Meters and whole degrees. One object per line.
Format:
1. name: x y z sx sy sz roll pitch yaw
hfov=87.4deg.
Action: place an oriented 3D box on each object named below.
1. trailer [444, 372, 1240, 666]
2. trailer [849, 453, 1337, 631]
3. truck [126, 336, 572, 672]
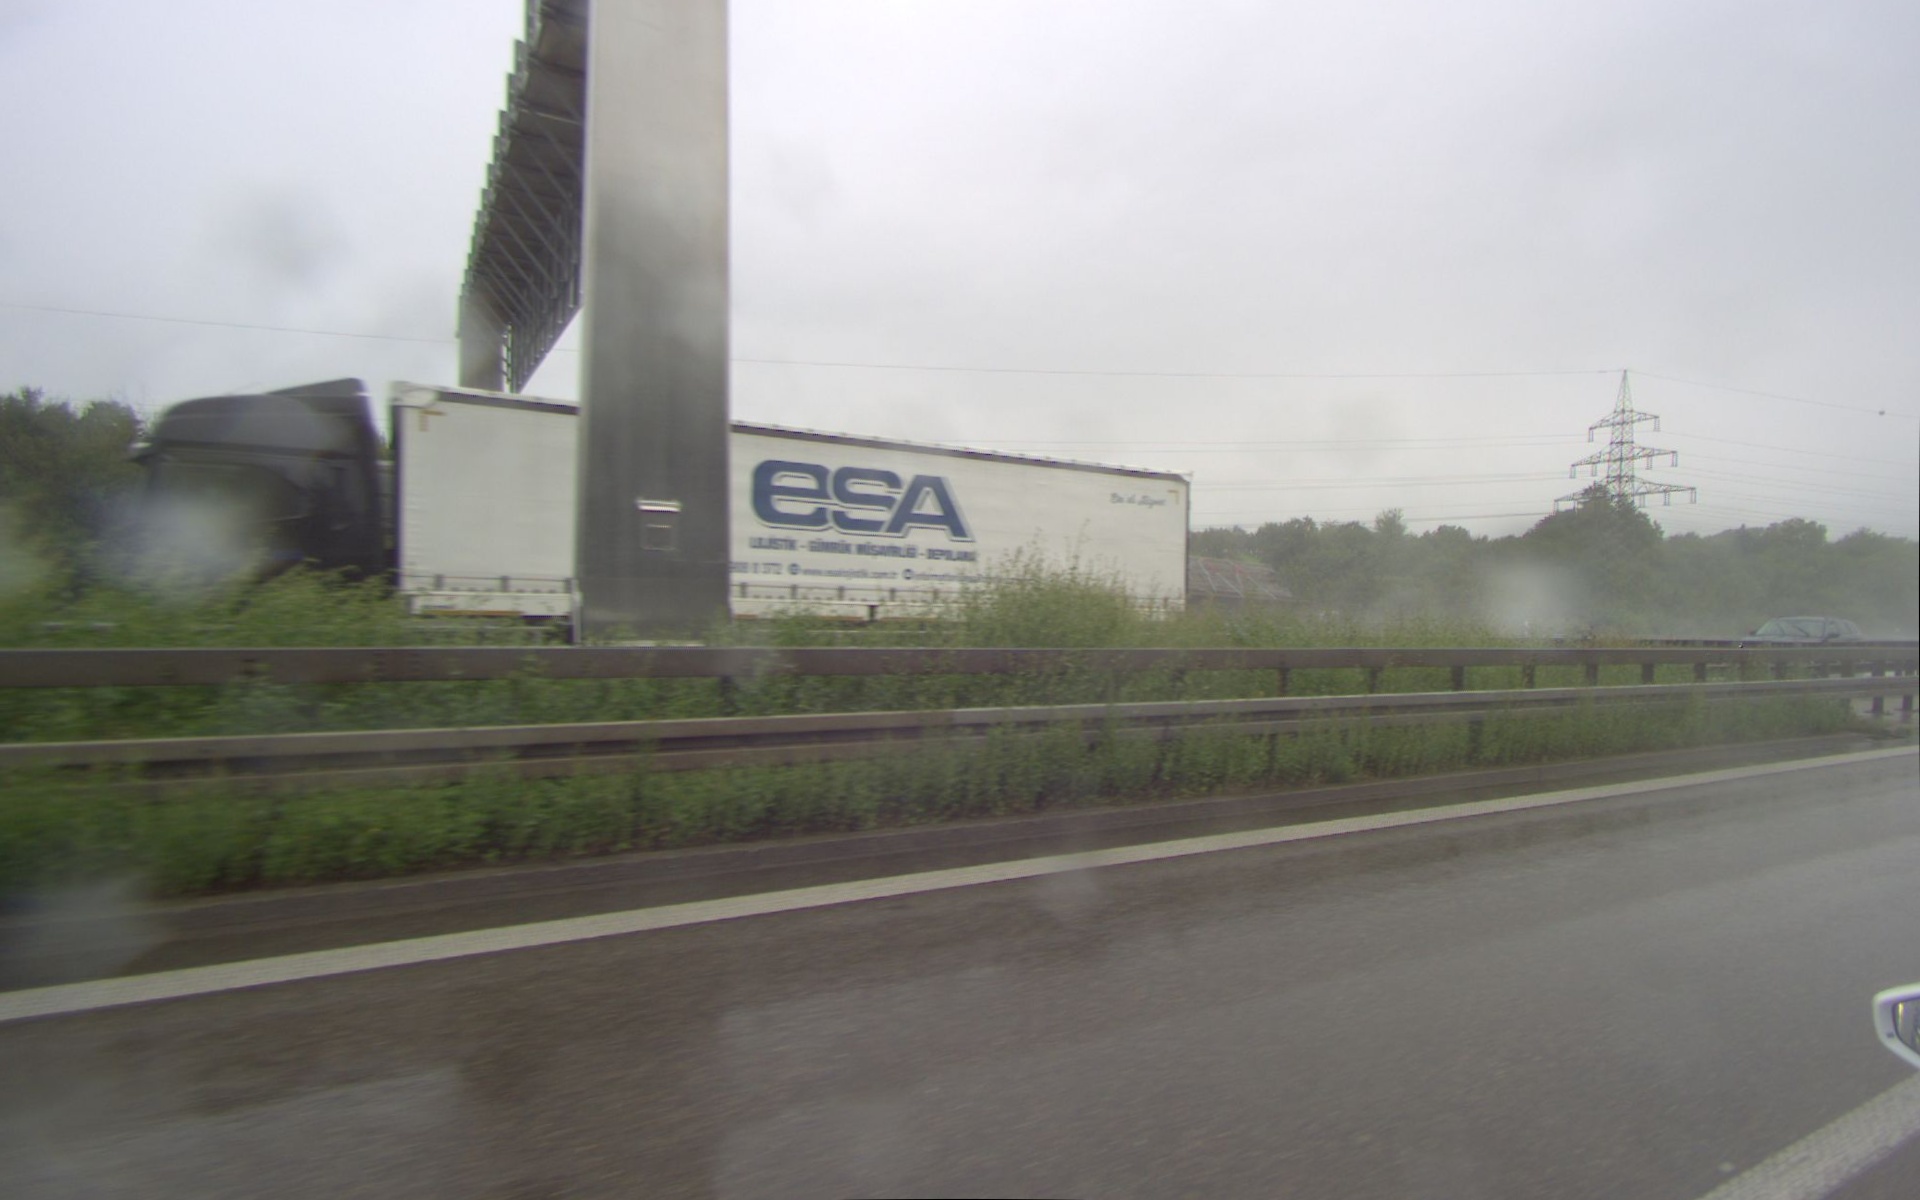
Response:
1. trailer: -1.129 -0.990 17.355 13.762 3.772 2.321 1 4 -30
2. trailer: 3.910 -1.230 26.154 13.374 3.807 2.912 1 3 -29
3. truck: -7.888 -1.104 13.461 4.681 3.759 2.345 1 4 -30
